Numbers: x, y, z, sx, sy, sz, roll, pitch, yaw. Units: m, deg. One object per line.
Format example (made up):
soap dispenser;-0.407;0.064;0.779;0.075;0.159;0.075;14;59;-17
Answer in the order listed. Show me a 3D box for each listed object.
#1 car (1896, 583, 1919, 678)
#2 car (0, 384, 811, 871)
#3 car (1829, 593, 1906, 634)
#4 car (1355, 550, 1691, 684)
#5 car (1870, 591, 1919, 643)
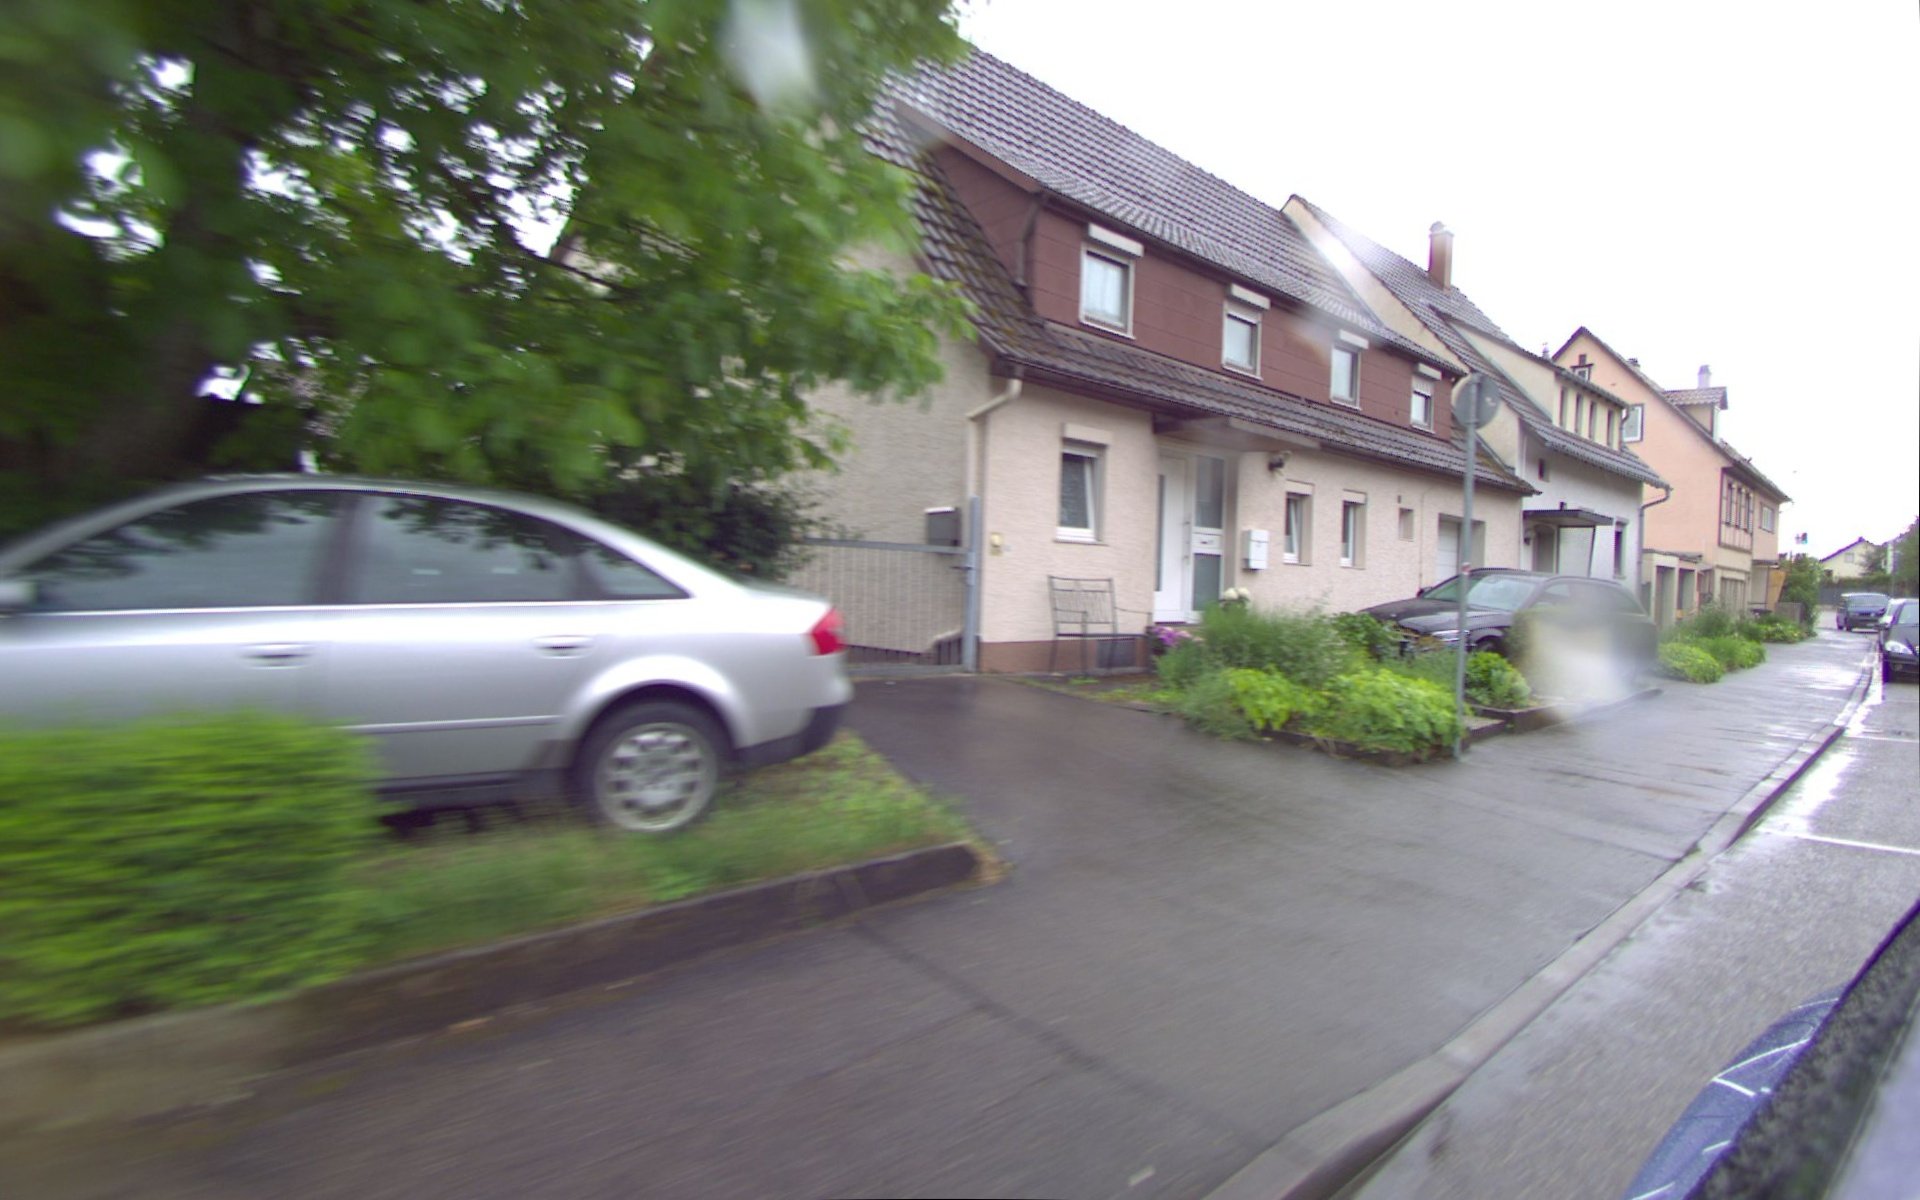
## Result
car;19.416;0.568;19.392;3.931;1.731;1.753;0;2;-41
car;-2.614;0.052;4.320;3.614;1.447;1.640;0;2;-42
car;45.729;0.628;51.081;1.920;1.926;4.743;0;0;30
car;7.422;0.229;13.364;3.917;1.409;1.770;2;6;-25
car;31.451;0.509;33.508;1.800;1.615;4.545;0;1;40
